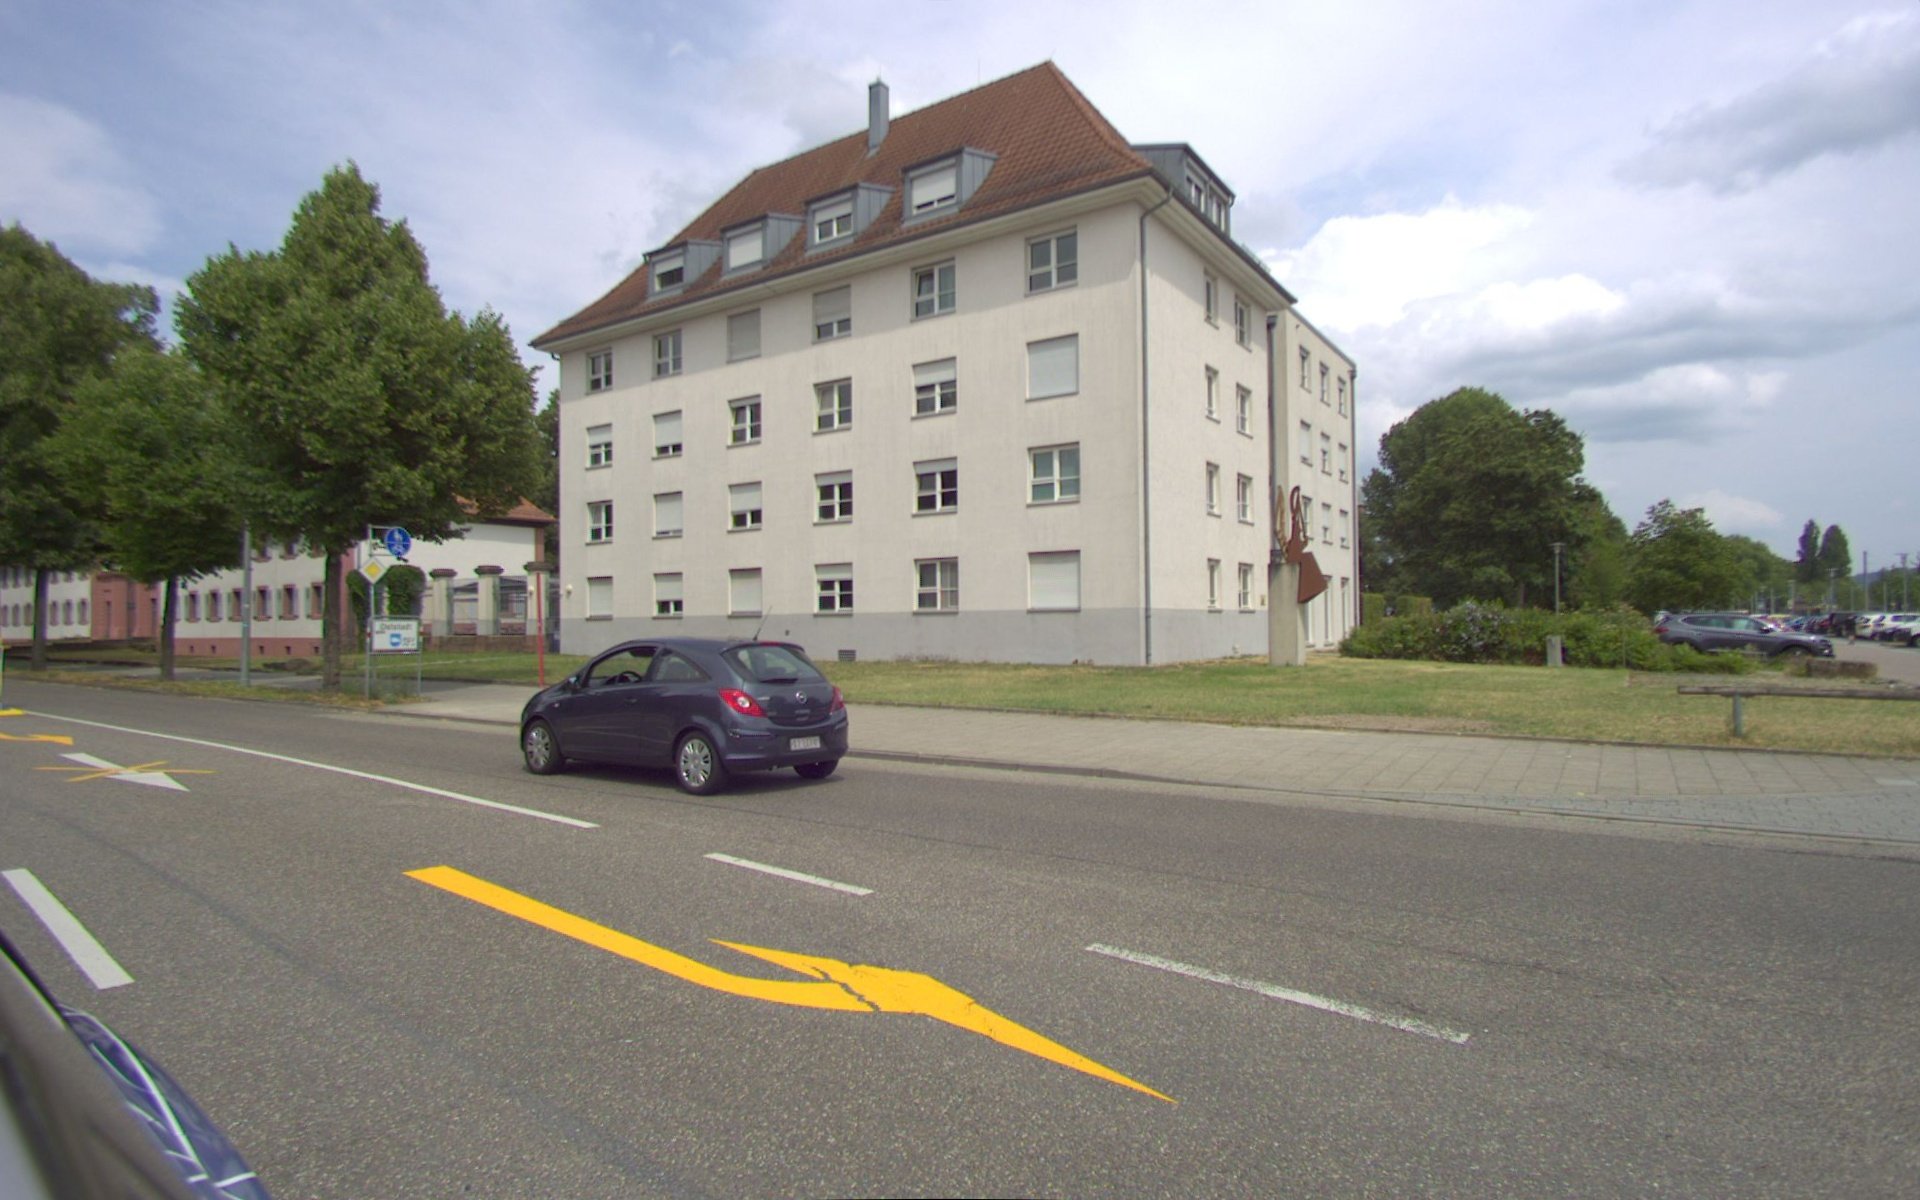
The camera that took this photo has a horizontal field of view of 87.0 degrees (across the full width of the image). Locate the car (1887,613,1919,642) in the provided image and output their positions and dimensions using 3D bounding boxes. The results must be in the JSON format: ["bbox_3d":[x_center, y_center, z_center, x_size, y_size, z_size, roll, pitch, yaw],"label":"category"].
[{"bbox_3d":[55.156,1.498,56.914,4.127,1.603,1.794,-3,-4,33],"label":"car"}]

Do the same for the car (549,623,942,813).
[{"bbox_3d":[-2.146,1.023,9.753,3.719,1.492,1.654,-2,-4,36],"label":"car"}]

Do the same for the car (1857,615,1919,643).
[{"bbox_3d":[57.658,1.758,61.727,4.127,1.603,1.794,-3,-4,33],"label":"car"}]

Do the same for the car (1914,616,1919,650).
[{"bbox_3d":[47.929,1.513,47.568,4.127,1.603,1.794,-3,-4,33],"label":"car"}]

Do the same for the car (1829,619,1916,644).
[{"bbox_3d":[62.767,2.187,69.728,4.127,1.603,1.794,-3,-4,33],"label":"car"}]

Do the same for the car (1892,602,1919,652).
[{"bbox_3d":[49.832,1.283,49.754,5.529,2.485,2.083,-3,-4,33],"label":"car"}]

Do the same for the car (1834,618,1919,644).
[{"bbox_3d":[61.705,2.096,68.048,4.127,1.603,1.794,-3,-4,33],"label":"car"}]

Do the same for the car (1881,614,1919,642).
[{"bbox_3d":[56.966,1.625,59.295,4.127,1.603,1.794,-3,-4,33],"label":"car"}]

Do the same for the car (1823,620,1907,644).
[{"bbox_3d":[63.889,2.284,71.539,4.127,1.603,1.794,-3,-4,33],"label":"car"}]

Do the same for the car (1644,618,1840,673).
[{"bbox_3d":[23.022,1.369,30.018,4.440,1.520,1.792,-3,-4,36],"label":"car"}]
